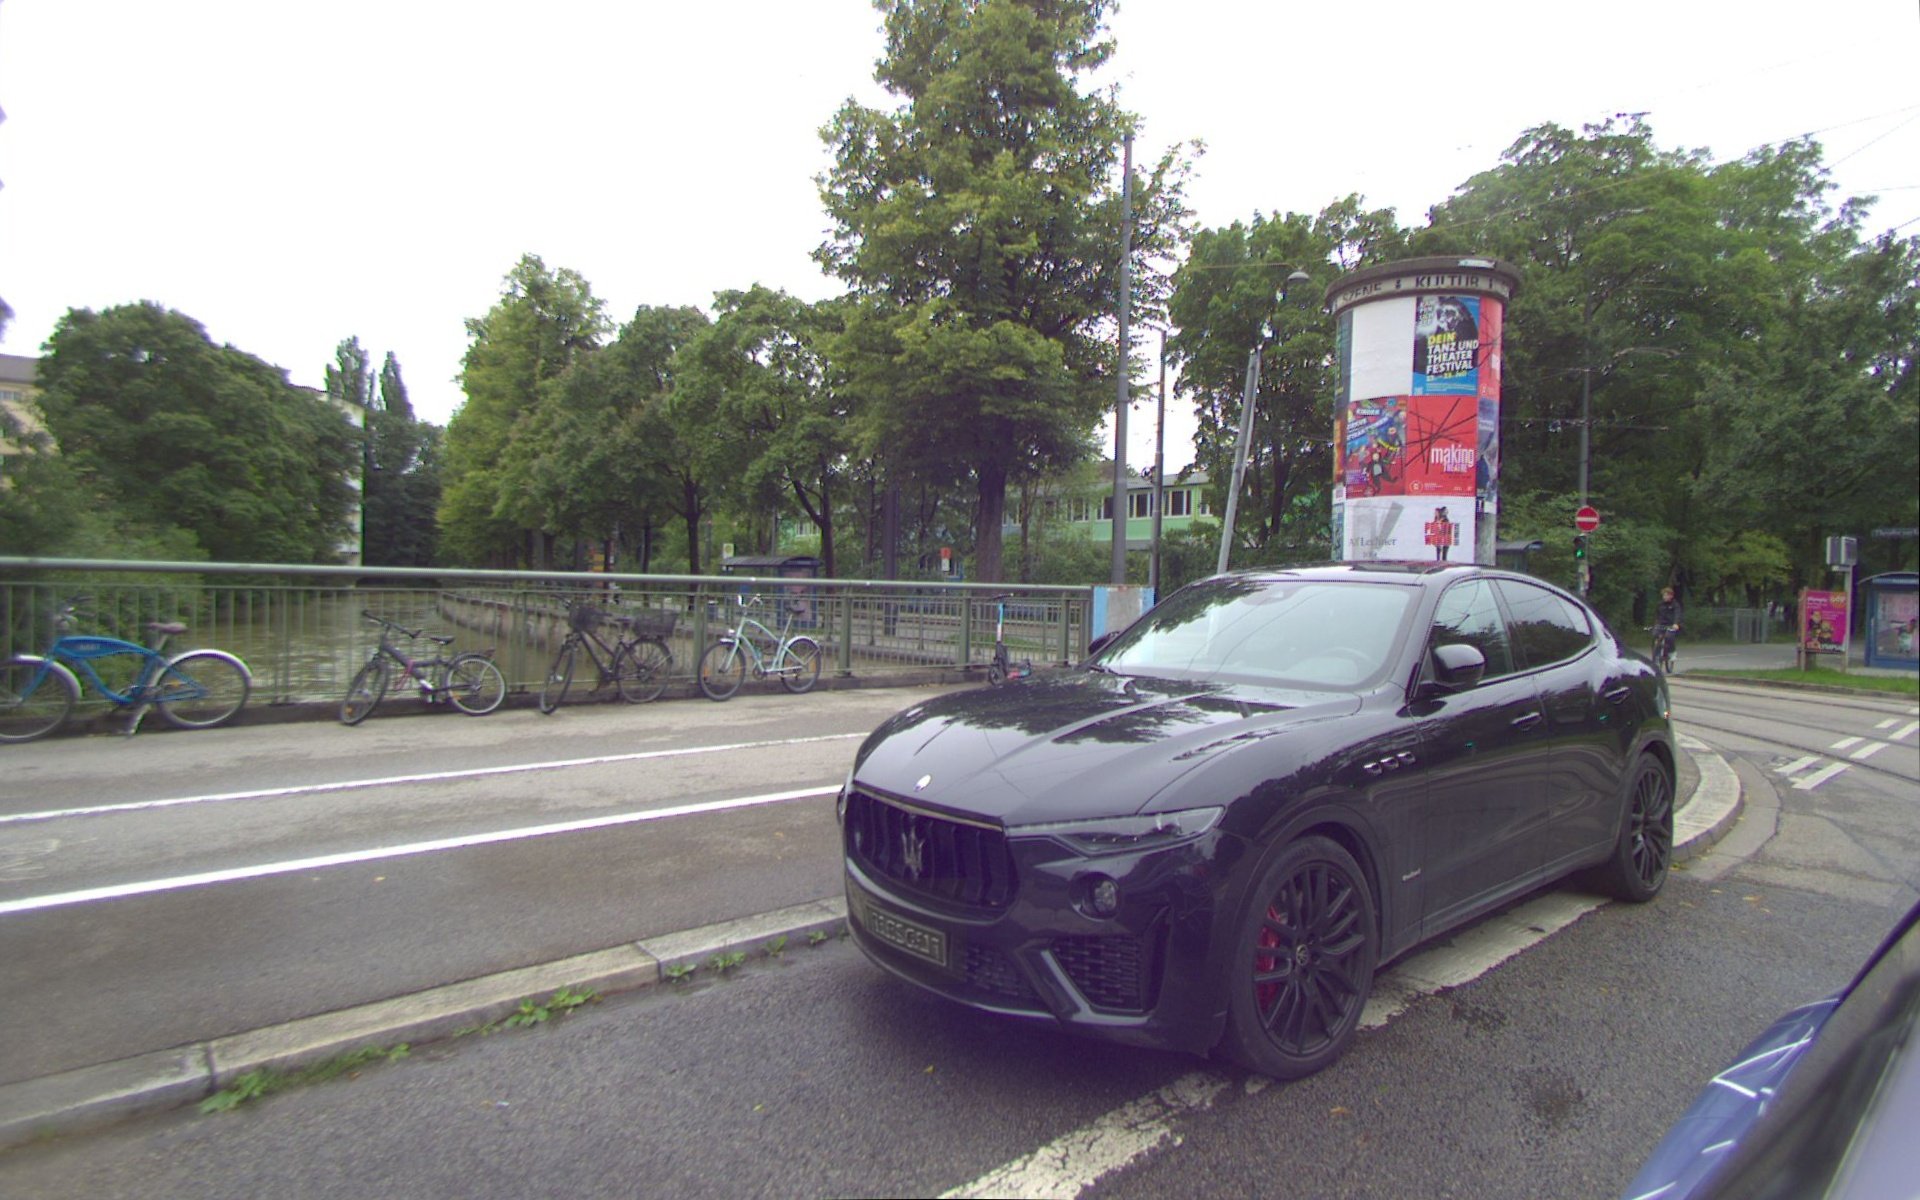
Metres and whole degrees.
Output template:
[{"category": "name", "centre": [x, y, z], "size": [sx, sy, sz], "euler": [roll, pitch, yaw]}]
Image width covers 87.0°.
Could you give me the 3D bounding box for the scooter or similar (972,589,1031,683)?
[{"category": "scooter or similar", "centre": [0.567, 0.474, 13.764], "size": [0.224, 1.227, 1.006], "euler": [-1, -1, 41]}]

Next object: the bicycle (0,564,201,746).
[{"category": "bicycle", "centre": [-6.651, 0.391, 7.683], "size": [0.281, 1.298, 1.390], "euler": [-1, -1, 39]}]

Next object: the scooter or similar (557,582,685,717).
[{"category": "scooter or similar", "centre": [-3.420, 0.472, 10.325], "size": [0.242, 1.279, 1.481], "euler": [0, 0, 28]}]

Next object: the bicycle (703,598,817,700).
[{"category": "bicycle", "centre": [-2.252, 0.525, 11.534], "size": [0.263, 1.096, 1.523], "euler": [0, 0, 35]}]

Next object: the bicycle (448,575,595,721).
[{"category": "bicycle", "centre": [-4.161, 0.429, 9.693], "size": [0.280, 1.298, 1.395], "euler": [0, 0, 31]}]

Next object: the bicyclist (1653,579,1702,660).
[{"category": "bicyclist", "centre": [15.772, 0.415, 22.238], "size": [0.714, 1.751, 0.725], "euler": [0, -1, -42]}]

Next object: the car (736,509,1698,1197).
[{"category": "car", "centre": [1.509, 0.626, 4.606], "size": [4.580, 1.630, 1.905], "euler": [1, -1, -39]}]

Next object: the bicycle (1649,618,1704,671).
[{"category": "bicycle", "centre": [15.753, 0.949, 22.228], "size": [1.879, 1.092, 0.579], "euler": [0, 0, -42]}]

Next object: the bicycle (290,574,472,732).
[{"category": "bicycle", "centre": [-5.093, 0.434, 8.975], "size": [0.281, 1.298, 1.390], "euler": [-1, -1, 39]}]
